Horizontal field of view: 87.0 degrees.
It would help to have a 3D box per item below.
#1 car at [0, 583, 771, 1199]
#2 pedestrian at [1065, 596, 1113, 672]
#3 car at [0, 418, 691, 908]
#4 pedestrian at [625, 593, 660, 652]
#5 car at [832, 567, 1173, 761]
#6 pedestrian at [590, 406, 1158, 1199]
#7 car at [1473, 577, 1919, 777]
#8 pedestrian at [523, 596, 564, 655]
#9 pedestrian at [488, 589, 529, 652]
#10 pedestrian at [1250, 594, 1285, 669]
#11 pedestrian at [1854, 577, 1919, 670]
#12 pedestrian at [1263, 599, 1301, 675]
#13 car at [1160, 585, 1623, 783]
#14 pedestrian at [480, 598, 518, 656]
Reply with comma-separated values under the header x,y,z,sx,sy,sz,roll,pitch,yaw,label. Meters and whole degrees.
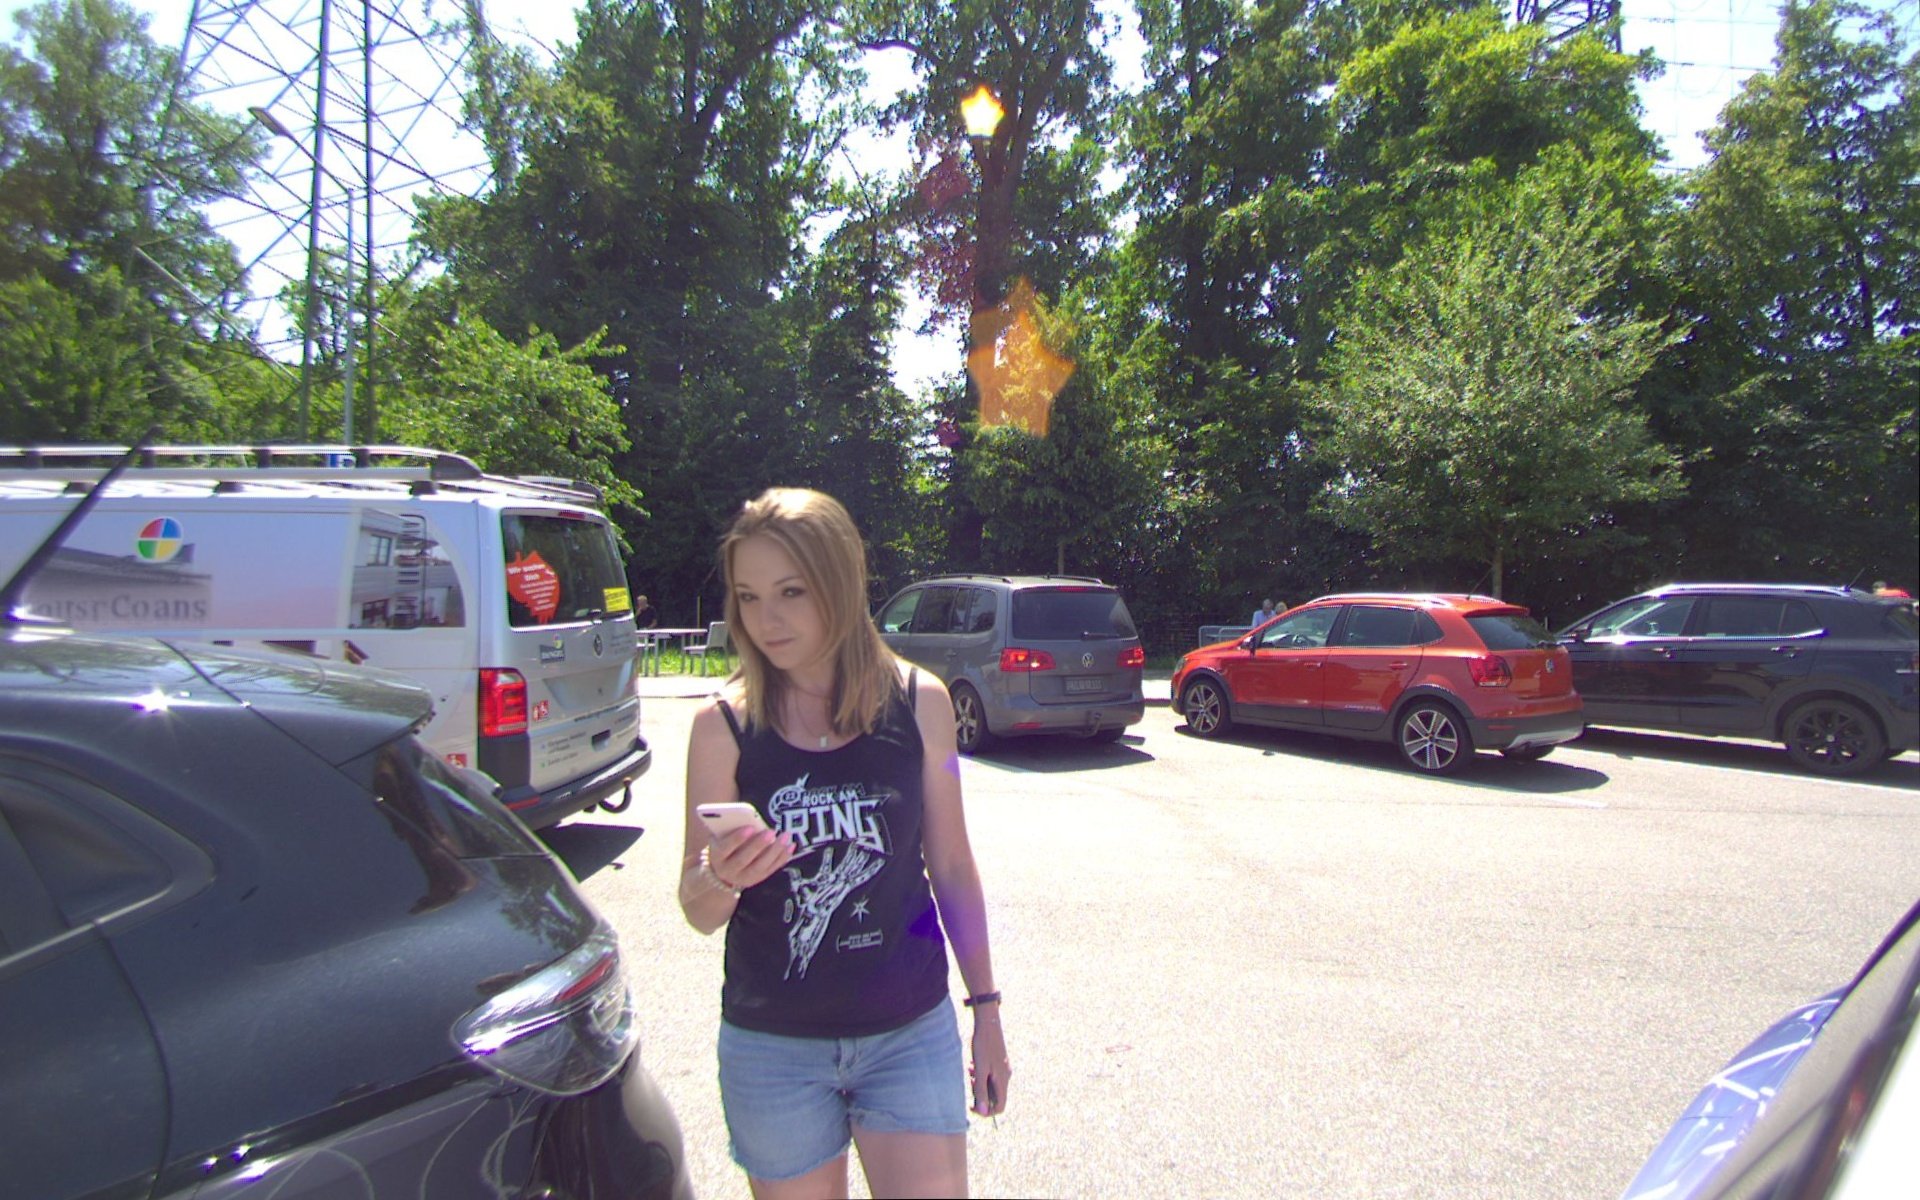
x,y,z,sx,sy,sz,roll,pitch,yaw,label
-2.119,0.718,0.594,1.615,1.503,3.706,0,-1,44,car
2.140,0.565,16.852,0.660,1.235,0.682,1,-2,-5,pedestrian
-4.383,0.230,5.659,5.216,2.177,1.999,1,1,3,car
-6.677,0.463,21.310,0.550,1.229,0.599,1,-1,-1,pedestrian
0.226,0.500,10.557,1.717,1.611,3.961,0,1,-30,car
-0.171,0.599,1.504,0.641,1.606,0.650,1,-1,-26,pedestrian
7.247,0.576,9.682,1.727,1.566,3.806,0,1,-39,car
-9.706,0.581,23.584,0.722,1.343,0.669,1,-1,-39,pedestrian
-10.938,0.489,24.521,0.722,1.478,0.669,1,-1,-39,pedestrian
5.778,0.589,19.028,0.495,1.393,0.491,1,-1,0,pedestrian
13.945,0.337,14.881,0.846,1.316,0.894,1,-1,-18,pedestrian
5.696,0.639,17.904,0.495,1.316,0.491,1,-1,0,pedestrian
3.856,0.605,9.650,1.604,1.476,3.810,0,1,-34,car
-10.426,0.597,22.887,0.630,1.287,0.579,1,-1,-39,pedestrian
